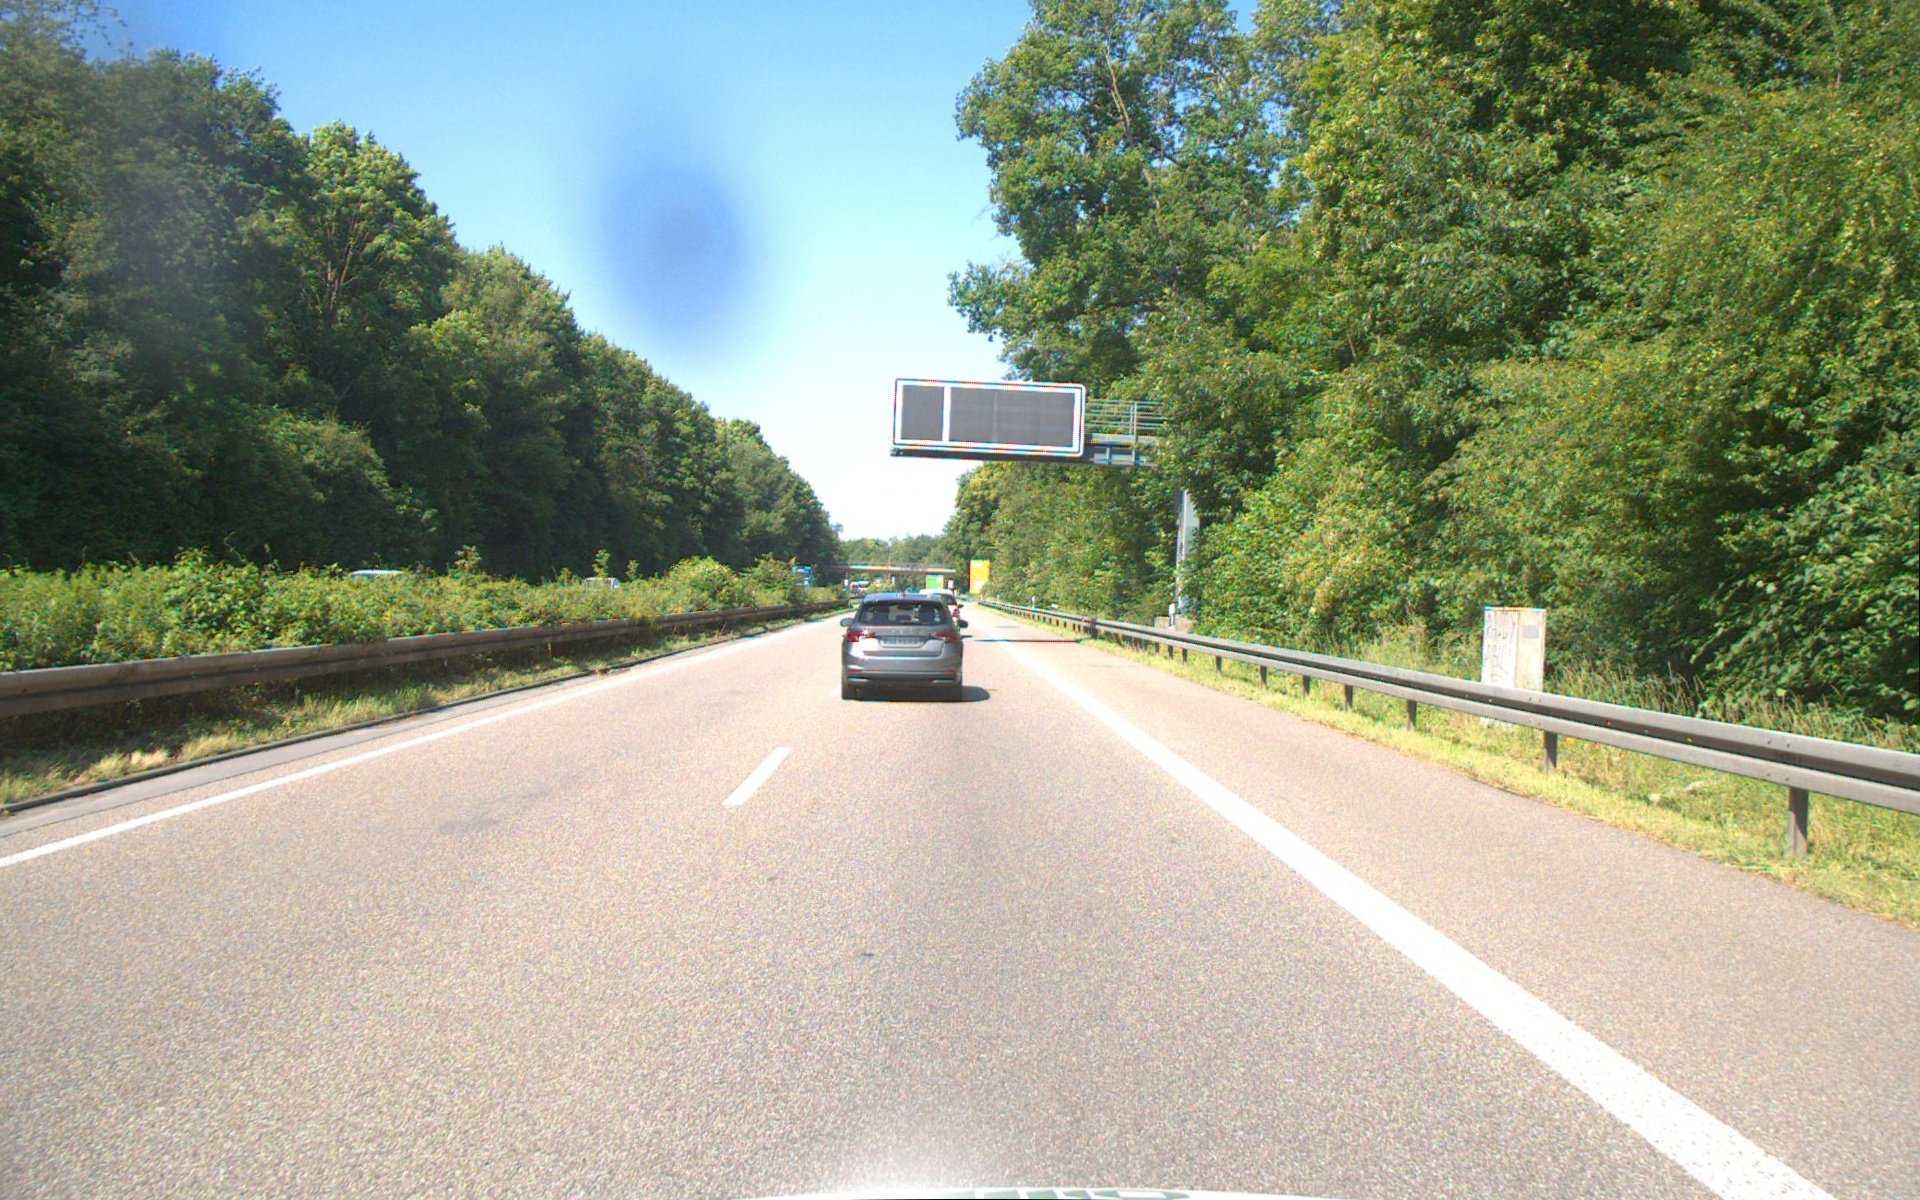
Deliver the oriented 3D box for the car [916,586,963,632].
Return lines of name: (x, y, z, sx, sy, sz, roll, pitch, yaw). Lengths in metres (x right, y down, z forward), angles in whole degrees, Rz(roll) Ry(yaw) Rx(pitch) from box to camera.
car: (-0.669, 0.283, 55.841, 1.491, 1.472, 3.340, 1, 0, 1)

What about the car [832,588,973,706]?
car: (-0.744, 0.603, 23.454, 1.802, 1.497, 3.624, 1, 0, 1)

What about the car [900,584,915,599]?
car: (-6.988, -1.134, 220.286, 1.953, 2.049, 3.999, 1, 0, -1)

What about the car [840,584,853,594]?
car: (-17.492, -1.677, 255.541, 1.638, 1.499, 3.623, 1, 0, 1)

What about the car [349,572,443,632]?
car: (-15.707, 0.041, 46.228, 1.517, 1.593, 3.384, 1, 0, -2)

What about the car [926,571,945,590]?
car: (-3.590, -2.849, 245.251, 2.693, 2.700, 3.999, 1, 0, -1)

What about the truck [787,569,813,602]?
truck: (-18.718, -1.684, 193.424, 2.592, 3.771, 3.999, 1, 0, -1)
